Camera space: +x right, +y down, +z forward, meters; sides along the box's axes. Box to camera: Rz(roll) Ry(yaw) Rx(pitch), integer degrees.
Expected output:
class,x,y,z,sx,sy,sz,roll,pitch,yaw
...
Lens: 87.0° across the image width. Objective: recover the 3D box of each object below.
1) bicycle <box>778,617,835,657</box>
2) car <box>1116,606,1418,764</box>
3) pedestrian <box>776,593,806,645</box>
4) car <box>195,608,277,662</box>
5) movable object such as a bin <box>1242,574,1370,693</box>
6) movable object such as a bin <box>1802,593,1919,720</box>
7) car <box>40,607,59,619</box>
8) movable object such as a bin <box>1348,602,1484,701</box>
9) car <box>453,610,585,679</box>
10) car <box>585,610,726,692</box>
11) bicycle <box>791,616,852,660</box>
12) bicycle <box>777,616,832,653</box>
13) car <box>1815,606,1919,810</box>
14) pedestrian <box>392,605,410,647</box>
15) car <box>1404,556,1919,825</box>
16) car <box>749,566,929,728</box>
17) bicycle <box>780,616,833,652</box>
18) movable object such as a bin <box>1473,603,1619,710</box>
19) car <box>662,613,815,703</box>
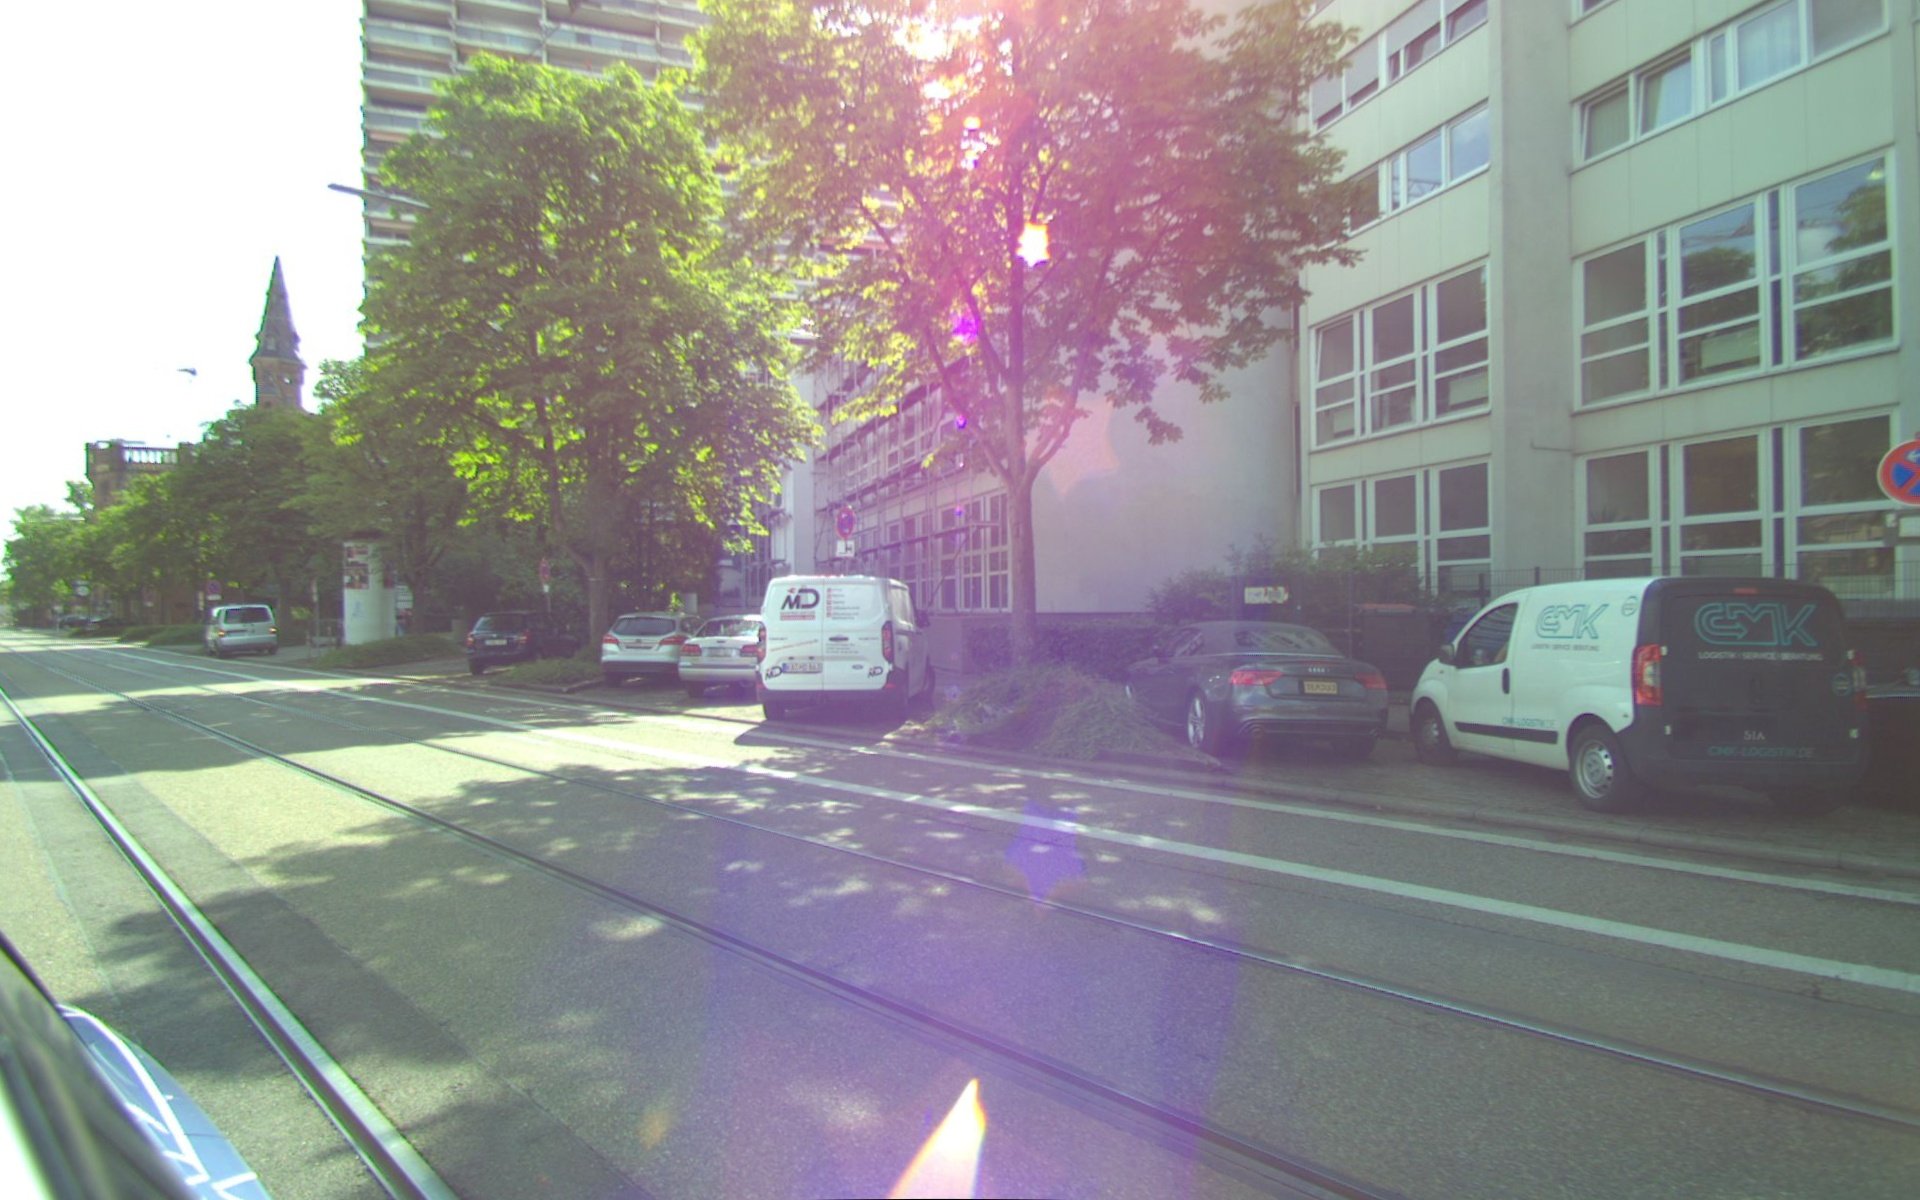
class,x,y,z,sx,sy,sz,roll,pitch,yaw
bicycle,-4.543,1.094,29.902,1.553,1.122,0.544,-1,-3,-22
car,3.136,0.855,11.251,1.695,1.428,4.006,1,-2,-7
pedestrian,-5.448,0.613,32.626,0.661,1.636,0.634,0,1,36
car,-27.819,1.297,38.837,1.865,1.865,4.239,-4,2,-44
movable object such as a bin,5.562,0.547,16.258,1.538,1.795,1.373,-1,-3,40
movable object such as a bin,10.375,0.629,11.286,1.442,1.337,1.151,-1,-4,43
car,-124.462,1.780,138.356,3.954,1.586,1.606,-1,-4,45
movable object such as a bin,6.800,0.751,15.092,1.538,1.374,1.373,-1,-3,40
car,-10.854,1.044,25.208,1.717,1.535,3.887,-1,0,-2
car,-6.149,0.979,20.931,1.796,1.512,4.195,-1,-1,-2
bicycle,-3.792,1.041,27.730,1.553,1.171,0.544,-1,-3,-22
bicycle,-4.799,1.059,31.189,1.553,1.101,0.544,-1,-3,-22
car,7.643,0.729,5.934,1.735,1.428,4.001,1,-2,-2
pedestrian,-23.952,1.098,43.358,0.516,1.767,0.636,-2,3,-39
car,5.362,0.649,8.389,1.736,1.706,3.714,1,-2,1
car,-1.599,0.625,15.059,1.942,2.012,4.682,-1,-1,2
bicycle,-4.861,1.069,32.125,1.553,1.089,0.544,-1,-3,-22
movable object such as a bin,8.110,0.765,13.994,1.538,1.374,1.373,-1,-3,40
car,-3.912,0.977,18.593,1.797,1.461,4.169,-1,-1,2
